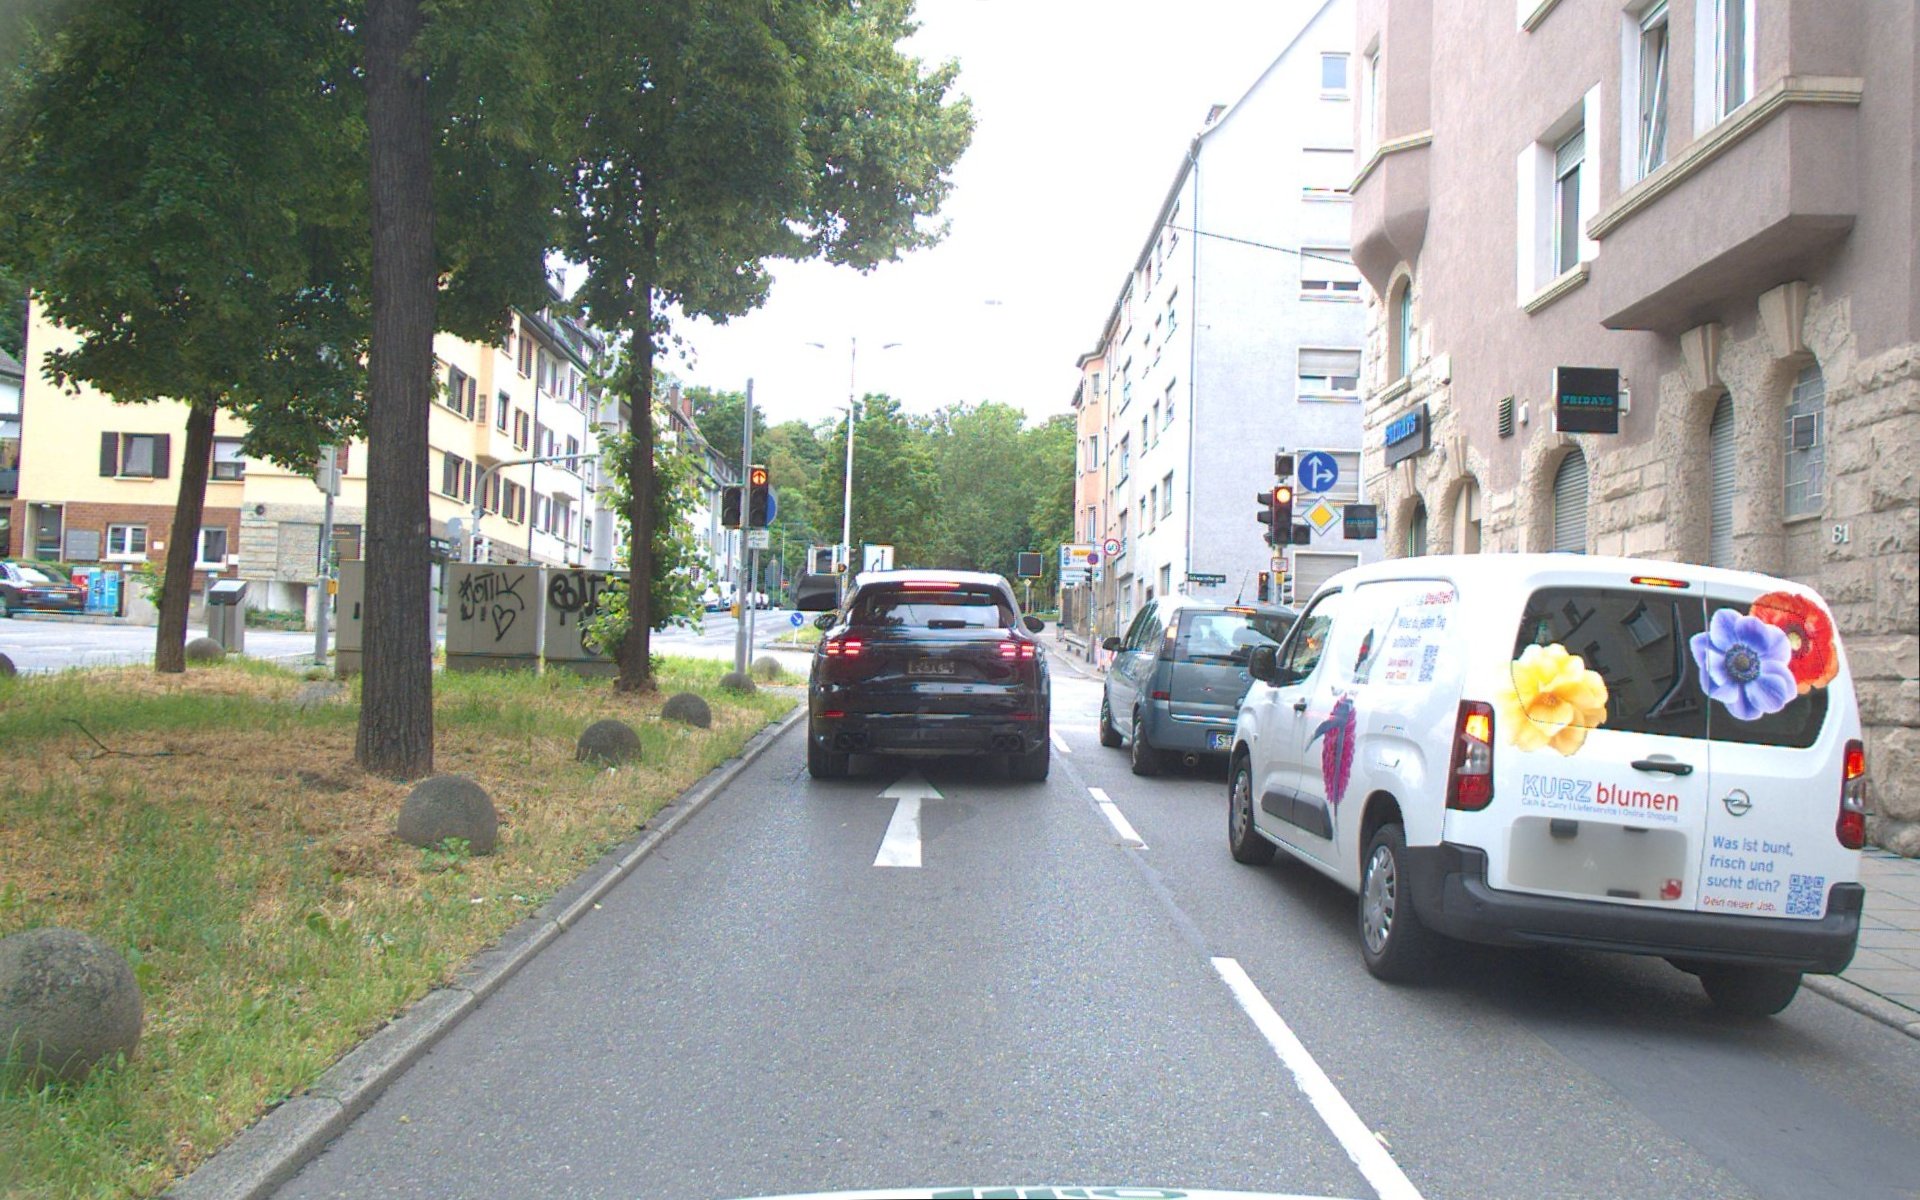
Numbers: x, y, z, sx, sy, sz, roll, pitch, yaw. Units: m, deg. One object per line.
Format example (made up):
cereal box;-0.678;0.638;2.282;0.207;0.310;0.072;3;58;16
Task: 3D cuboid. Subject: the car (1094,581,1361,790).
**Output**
car;2.397;0.701;15.706;1.717;1.620;3.629;4;1;-2

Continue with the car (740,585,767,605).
car;-16.552;-0.431;132.560;1.758;1.536;3.999;2;0;-2

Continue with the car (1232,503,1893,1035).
car;2.634;0.675;8.617;1.811;1.857;5.022;3;-1;3

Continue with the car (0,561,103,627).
car;-25.544;-0.162;45.359;3.916;1.694;1.877;1;-2;33

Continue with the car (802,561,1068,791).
car;-0.173;0.541;14.361;1.953;1.681;4.000;1;1;0

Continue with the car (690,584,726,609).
car;-16.135;-0.229;106.028;1.758;1.536;3.999;2;0;-2

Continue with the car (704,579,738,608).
car;-16.005;-0.428;111.056;1.758;1.841;3.999;2;0;-2
